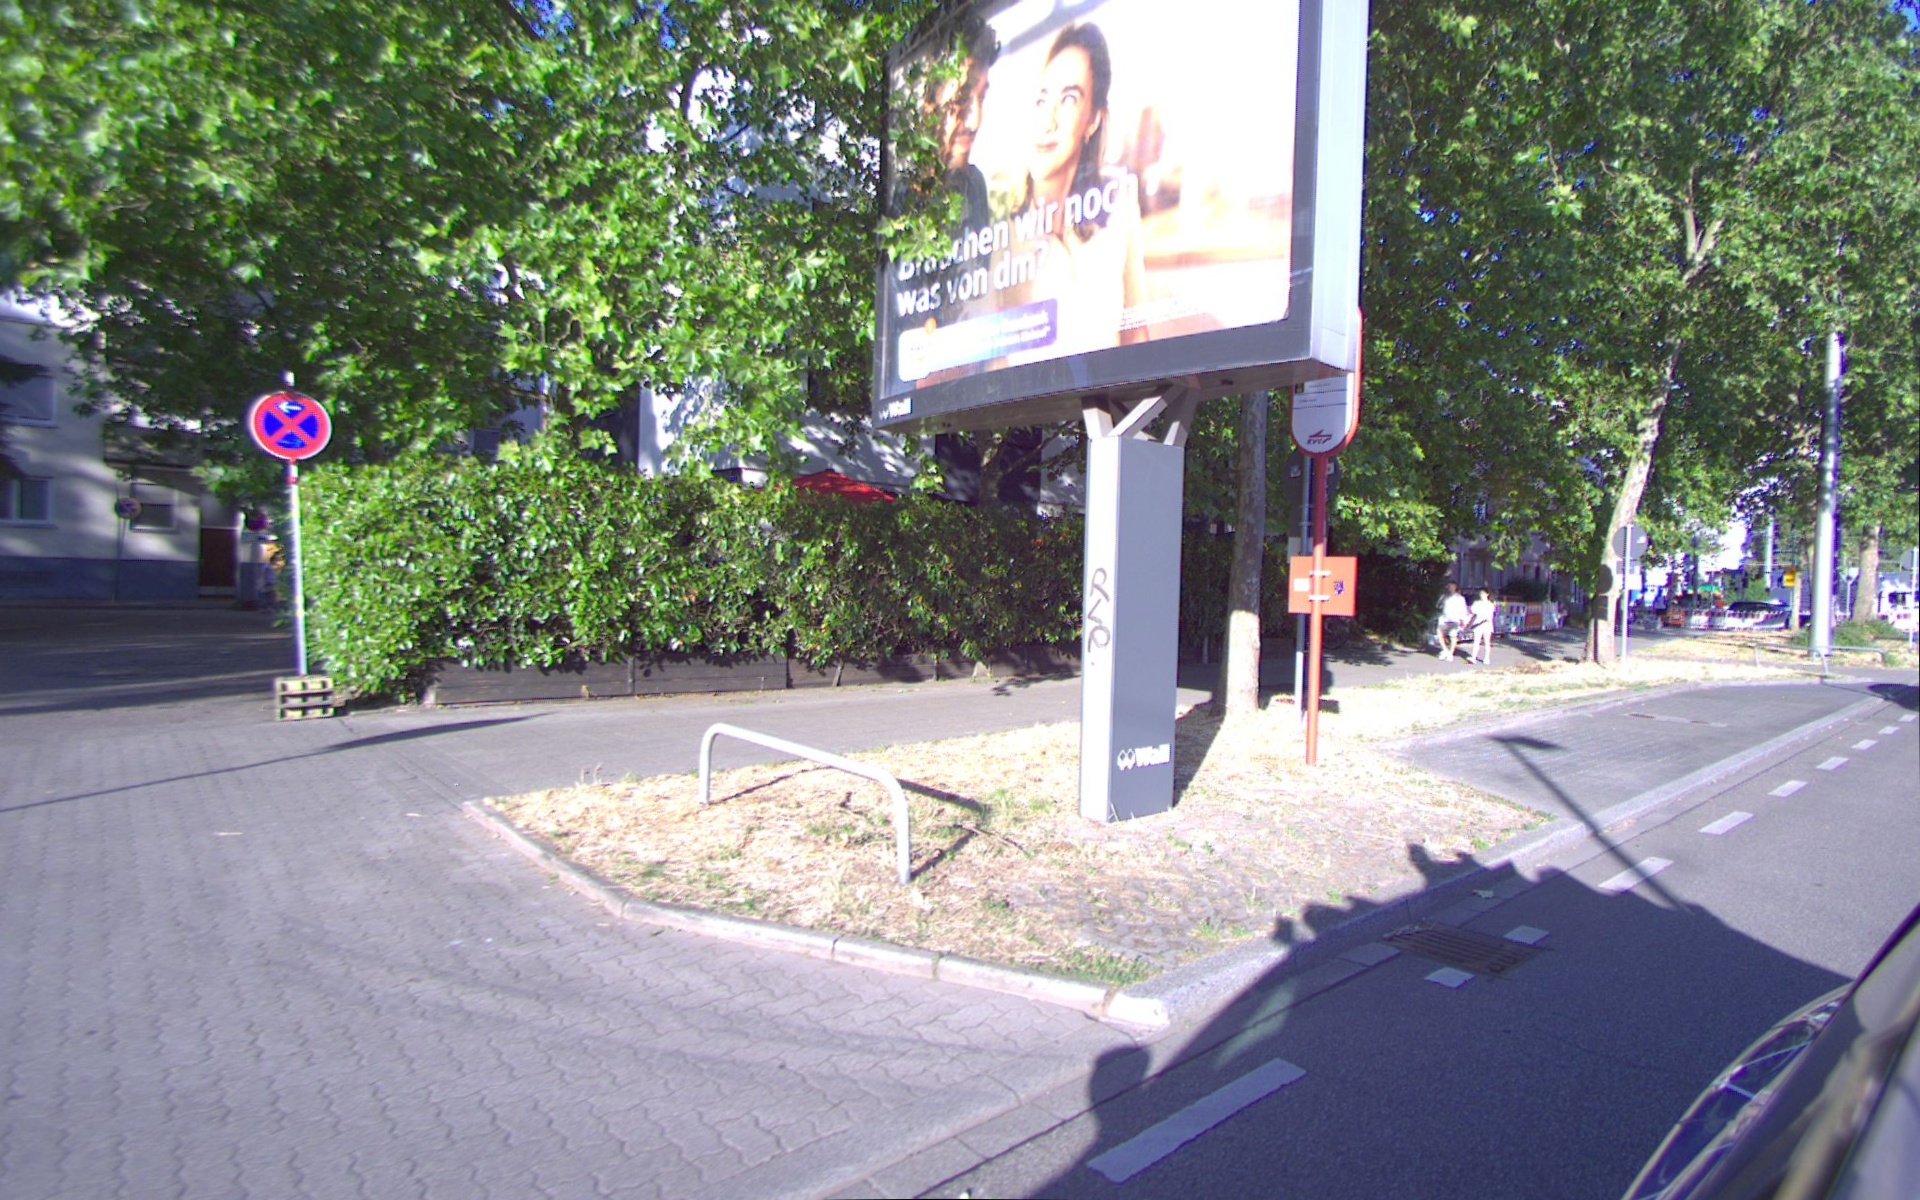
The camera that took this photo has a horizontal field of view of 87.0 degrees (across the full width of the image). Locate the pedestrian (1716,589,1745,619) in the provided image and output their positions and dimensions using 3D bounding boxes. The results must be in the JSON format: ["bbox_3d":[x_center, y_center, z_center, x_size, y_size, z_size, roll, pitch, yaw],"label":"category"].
[{"bbox_3d":[48.644,0.240,63.916,0.955,1.820,1.072,1,1,-20],"label":"pedestrian"}]

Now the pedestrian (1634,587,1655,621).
[{"bbox_3d":[36.516,0.211,53.987,0.573,1.730,0.680,4,-2,-6],"label":"pedestrian"}]

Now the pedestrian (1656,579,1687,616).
[{"bbox_3d":[37.057,-0.130,52.733,0.825,1.893,1.098,1,1,5],"label":"pedestrian"}]

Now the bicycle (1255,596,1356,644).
[{"bbox_3d":[8.403,0.465,24.729,0.651,1.036,2.383,1,2,-35],"label":"bicycle"}]

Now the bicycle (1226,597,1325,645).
[{"bbox_3d":[7.523,0.481,24.290,0.651,1.037,2.383,1,1,-33],"label":"bicycle"}]

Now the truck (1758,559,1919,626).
[{"bbox_3d":[52.017,-0.498,58.924,2.762,3.585,9.001,1,1,-11],"label":"truck"}]

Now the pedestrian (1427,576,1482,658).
[{"bbox_3d":[10.537,0.338,21.574,0.790,1.687,0.803,3,2,45],"label":"pedestrian"}]

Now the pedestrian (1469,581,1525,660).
[{"bbox_3d":[11.123,0.409,20.975,0.790,1.591,0.803,2,1,45],"label":"pedestrian"}]

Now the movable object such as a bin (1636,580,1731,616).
[{"bbox_3d":[47.980,-0.175,67.247,1.959,2.284,5.217,0,1,-10],"label":"movable object such as a bin"}]

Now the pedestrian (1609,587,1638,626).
[{"bbox_3d":[26.576,0.249,40.551,0.790,1.492,0.803,2,1,45],"label":"pedestrian"}]
